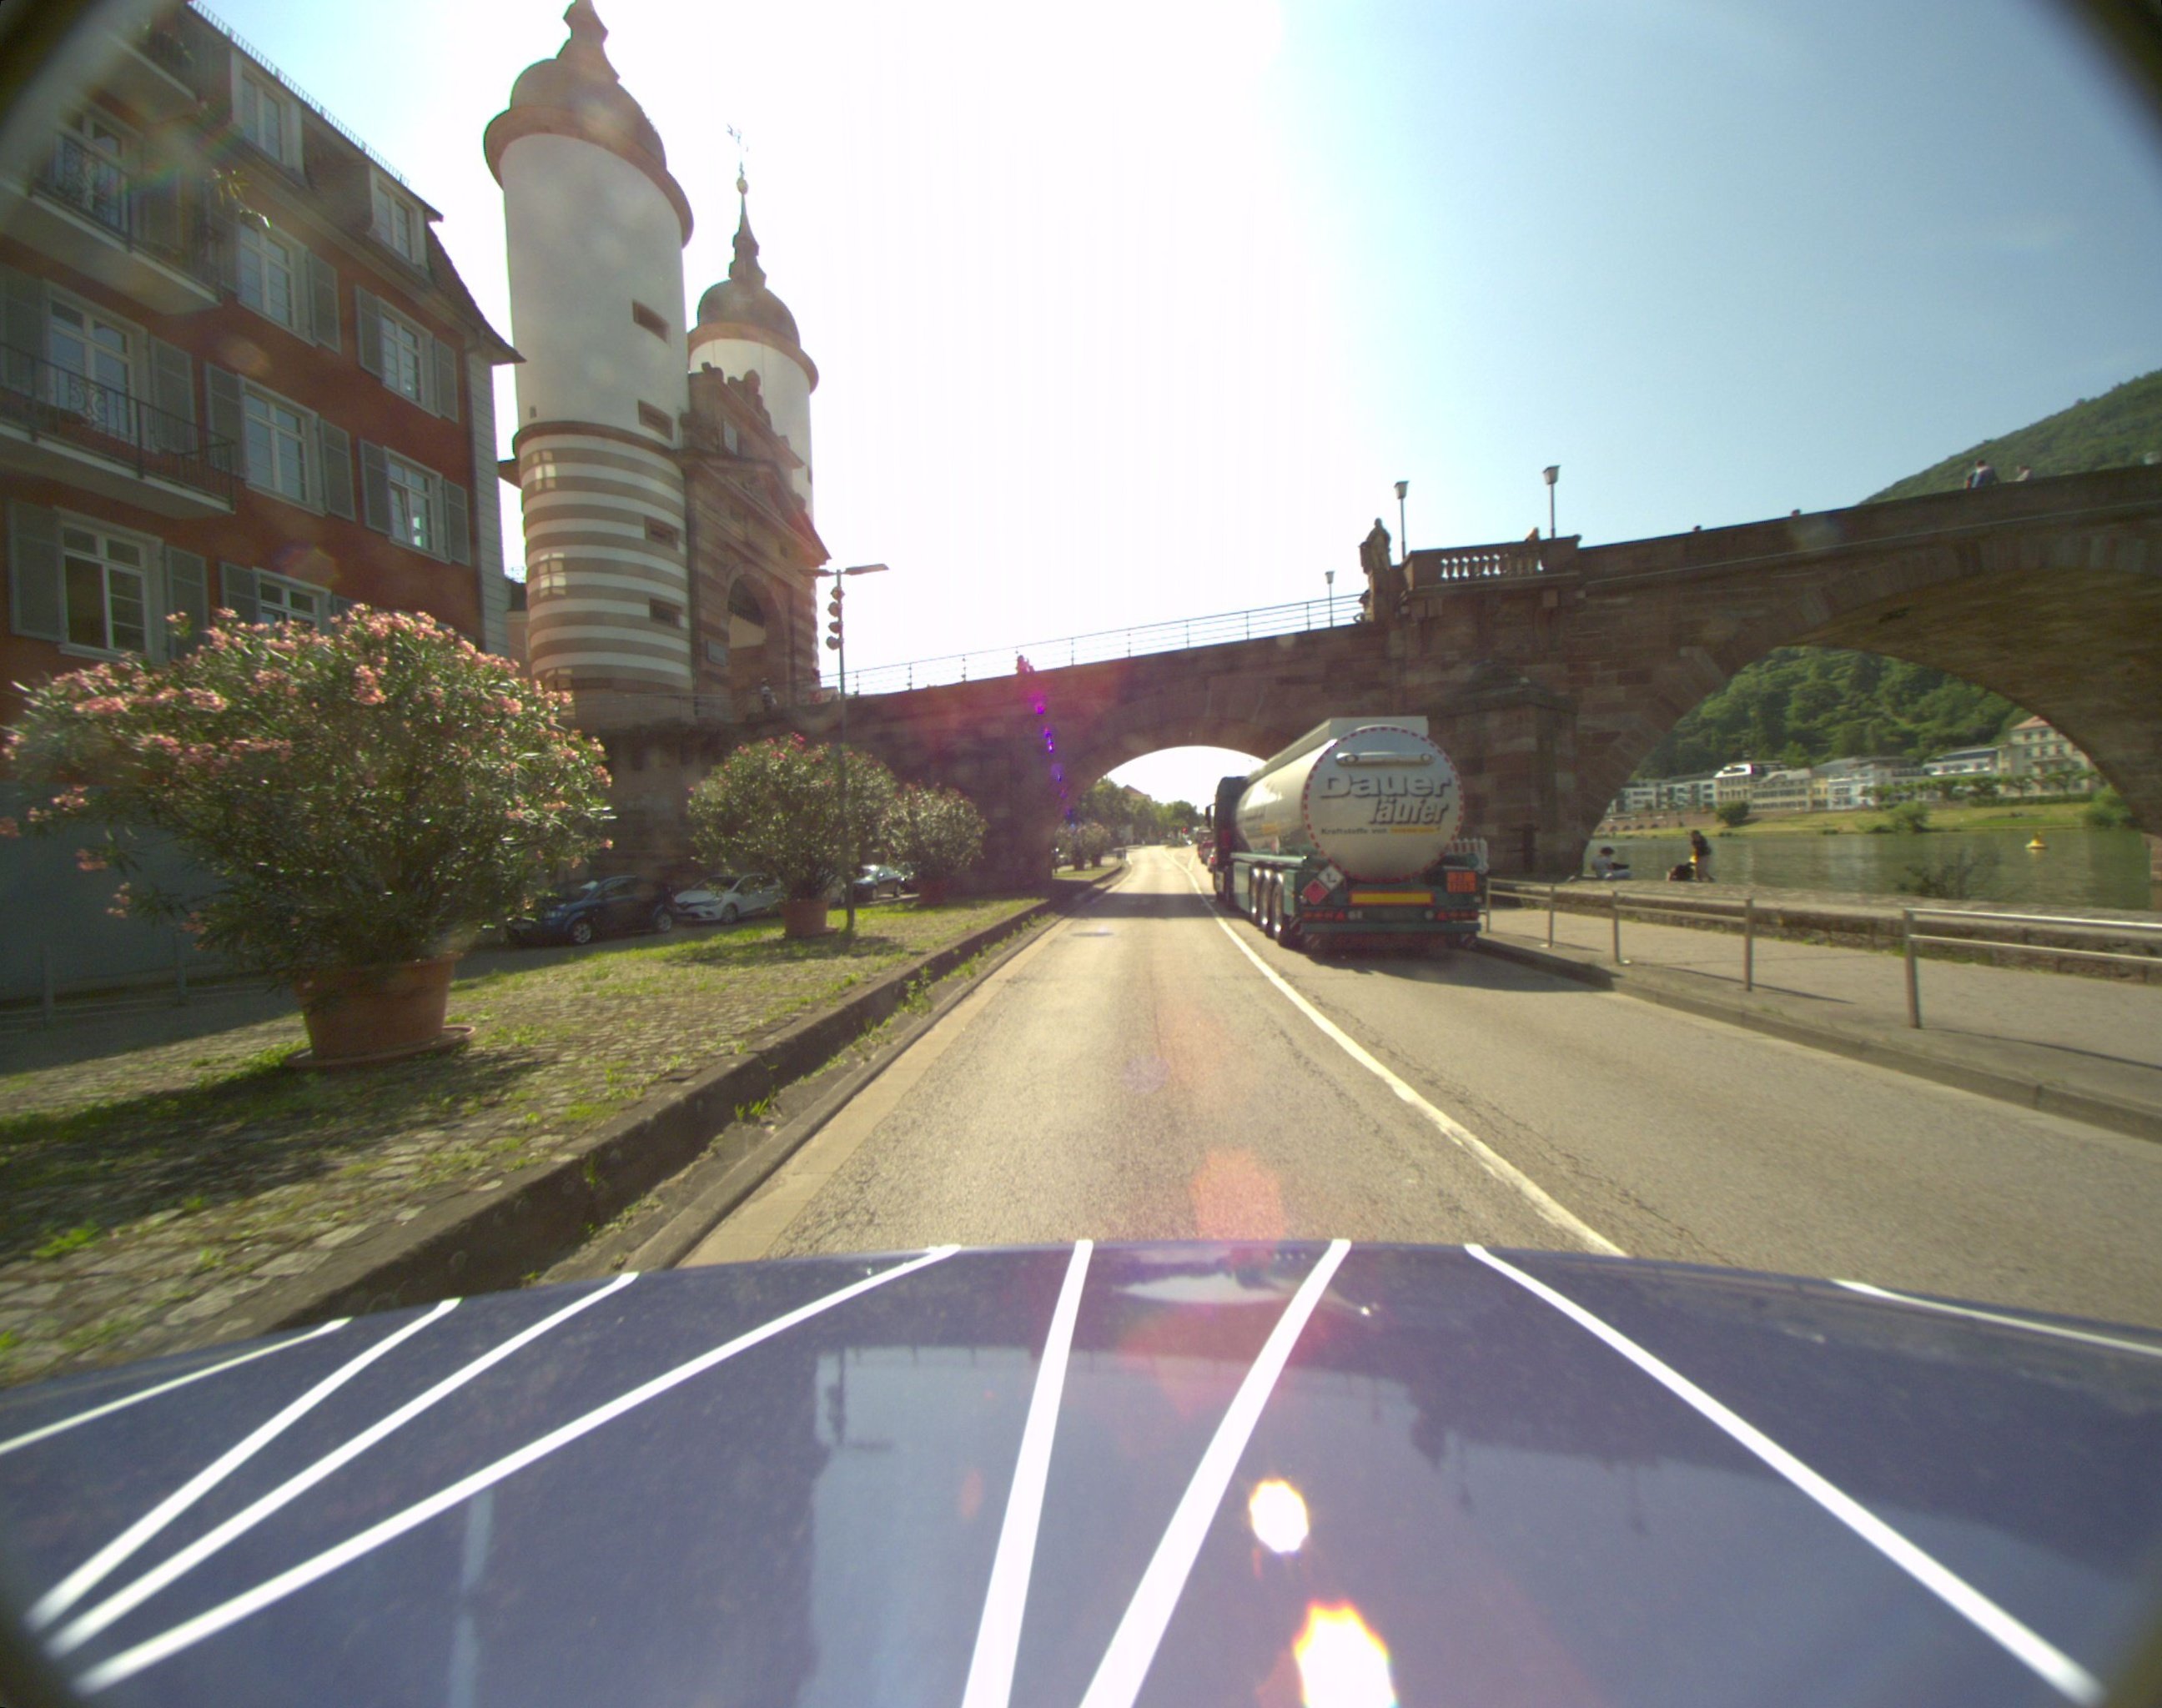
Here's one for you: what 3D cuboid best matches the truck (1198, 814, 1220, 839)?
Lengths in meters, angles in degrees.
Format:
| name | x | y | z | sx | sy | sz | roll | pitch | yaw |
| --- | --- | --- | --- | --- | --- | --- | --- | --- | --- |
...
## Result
| name | x | y | z | sx | sy | sz | roll | pitch | yaw |
| --- | --- | --- | --- | --- | --- | --- | --- | --- | --- |
| truck | 18.543 | -3.973 | 109.760 | 2.646 | 3.457 | 11.113 | -1 | 2 | 11 |

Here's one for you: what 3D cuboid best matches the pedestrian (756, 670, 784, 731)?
| name | x | y | z | sx | sy | sz | roll | pitch | yaw |
| --- | --- | --- | --- | --- | --- | --- | --- | --- | --- |
| pedestrian | -10.900 | -5.367 | 26.640 | 0.579 | 2.002 | 0.707 | -1 | 2 | 7 |

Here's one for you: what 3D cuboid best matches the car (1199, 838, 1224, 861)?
| name | x | y | z | sx | sy | sz | roll | pitch | yaw |
| --- | --- | --- | --- | --- | --- | --- | --- | --- | --- |
| car | 10.948 | -0.379 | 63.789 | 1.878 | 1.817 | 4.545 | 0 | 1 | 8 |

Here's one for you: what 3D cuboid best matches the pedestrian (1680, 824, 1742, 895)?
| name | x | y | z | sx | sy | sz | roll | pitch | yaw |
| --- | --- | --- | --- | --- | --- | --- | --- | --- | --- |
| pedestrian | 15.040 | 0.127 | 18.167 | 0.790 | 1.641 | 0.774 | -3 | 0 | 2 |

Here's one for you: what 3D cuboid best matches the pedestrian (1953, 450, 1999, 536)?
| name | x | y | z | sx | sy | sz | roll | pitch | yaw |
| --- | --- | --- | --- | --- | --- | --- | --- | --- | --- |
| pedestrian | 24.224 | -9.755 | 20.571 | 0.467 | 2.002 | 0.639 | -2 | 2 | 0 |

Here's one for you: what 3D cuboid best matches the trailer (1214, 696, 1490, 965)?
| name | x | y | z | sx | sy | sz | roll | pitch | yaw |
| --- | --- | --- | --- | --- | --- | --- | --- | --- | --- |
| trailer | 4.680 | -0.367 | 16.095 | 2.529 | 3.623 | 11.533 | -1 | 1 | 4 |

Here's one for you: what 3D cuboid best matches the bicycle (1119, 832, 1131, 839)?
| name | x | y | z | sx | sy | sz | roll | pitch | yaw |
| --- | --- | --- | --- | --- | --- | --- | --- | --- | --- |
| bicycle | 7.906 | -3.320 | 136.247 | 2.159 | 1.361 | 0.584 | 0 | 3 | 10 |

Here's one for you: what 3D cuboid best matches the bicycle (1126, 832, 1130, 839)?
| name | x | y | z | sx | sy | sz | roll | pitch | yaw |
| --- | --- | --- | --- | --- | --- | --- | --- | --- | --- |
| bicycle | 8.232 | -3.199 | 132.222 | 0.476 | 1.255 | 2.163 | 0 | 2 | 8 |

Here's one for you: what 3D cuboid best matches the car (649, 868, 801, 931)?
| name | x | y | z | sx | sy | sz | roll | pitch | yaw |
| --- | --- | --- | --- | --- | --- | --- | --- | --- | --- |
| car | -10.441 | 1.280 | 22.716 | 1.896 | 1.484 | 4.419 | -1 | 1 | 9 |

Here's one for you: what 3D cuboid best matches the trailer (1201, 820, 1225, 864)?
| name | x | y | z | sx | sy | sz | roll | pitch | yaw |
| --- | --- | --- | --- | --- | --- | --- | --- | --- | --- |
| trailer | 10.269 | -0.942 | 59.084 | 1.745 | 3.302 | 3.385 | 0 | 2 | 8 |

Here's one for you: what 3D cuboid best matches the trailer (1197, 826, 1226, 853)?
| name | x | y | z | sx | sy | sz | roll | pitch | yaw |
| --- | --- | --- | --- | --- | --- | --- | --- | --- | --- |
| trailer | 13.160 | -1.487 | 76.555 | 2.702 | 2.517 | 6.949 | 0 | 3 | 10 |

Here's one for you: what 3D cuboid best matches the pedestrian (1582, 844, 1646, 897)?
| name | x | y | z | sx | sy | sz | roll | pitch | yaw |
| --- | --- | --- | --- | --- | --- | --- | --- | --- | --- |
| pedestrian | 12.890 | 0.387 | 18.405 | 0.790 | 1.222 | 1.026 | -3 | 0 | 2 |

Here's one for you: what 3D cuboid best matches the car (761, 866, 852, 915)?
| name | x | y | z | sx | sy | sz | roll | pitch | yaw |
| --- | --- | --- | --- | --- | --- | --- | --- | --- | --- |
| car | -9.669 | 1.244 | 27.009 | 1.557 | 1.468 | 3.668 | -2 | 1 | 6 |

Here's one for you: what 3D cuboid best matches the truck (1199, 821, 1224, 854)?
| name | x | y | z | sx | sy | sz | roll | pitch | yaw |
| --- | --- | --- | --- | --- | --- | --- | --- | --- | --- |
| truck | 14.593 | -1.942 | 85.107 | 2.646 | 3.438 | 7.874 | 0 | 3 | 10 |

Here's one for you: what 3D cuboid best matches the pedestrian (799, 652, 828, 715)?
| name | x | y | z | sx | sy | sz | roll | pitch | yaw |
| --- | --- | --- | --- | --- | --- | --- | --- | --- | --- |
| pedestrian | -9.256 | -5.886 | 26.330 | 0.640 | 2.002 | 0.707 | -1 | 2 | 7 |

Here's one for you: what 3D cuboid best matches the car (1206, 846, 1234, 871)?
| name | x | y | z | sx | sy | sz | roll | pitch | yaw |
| --- | --- | --- | --- | --- | --- | --- | --- | --- | --- |
| car | 8.599 | 0.238 | 47.199 | 1.538 | 1.429 | 3.729 | 0 | 2 | 7 |

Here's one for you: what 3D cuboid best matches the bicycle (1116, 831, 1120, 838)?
| name | x | y | z | sx | sy | sz | roll | pitch | yaw |
| --- | --- | --- | --- | --- | --- | --- | --- | --- | --- |
| bicycle | 5.824 | -3.040 | 119.456 | 0.344 | 1.106 | 1.920 | -1 | 2 | 14 |

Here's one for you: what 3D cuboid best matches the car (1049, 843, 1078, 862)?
| name | x | y | z | sx | sy | sz | roll | pitch | yaw |
| --- | --- | --- | --- | --- | --- | --- | --- | --- | --- |
| car | -1.478 | -0.151 | 66.606 | 1.614 | 1.406 | 3.905 | -2 | 2 | 12 |

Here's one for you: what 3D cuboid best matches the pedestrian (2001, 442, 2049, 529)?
| name | x | y | z | sx | sy | sz | roll | pitch | yaw |
| --- | --- | --- | --- | --- | --- | --- | --- | --- | --- |
| pedestrian | 25.507 | -9.944 | 20.544 | 0.467 | 2.002 | 0.639 | -2 | 2 | 0 |

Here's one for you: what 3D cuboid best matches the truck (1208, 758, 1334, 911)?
| name | x | y | z | sx | sy | sz | roll | pitch | yaw |
| --- | --- | --- | --- | --- | --- | --- | --- | --- | --- |
| truck | 5.152 | -0.481 | 21.625 | 2.529 | 3.727 | 6.248 | 0 | 0 | 5 |

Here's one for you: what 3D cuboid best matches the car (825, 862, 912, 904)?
| name | x | y | z | sx | sy | sz | roll | pitch | yaw |
| --- | --- | --- | --- | --- | --- | --- | --- | --- | --- |
| car | -8.928 | 1.174 | 32.352 | 1.779 | 1.428 | 4.494 | -2 | 1 | 9 |

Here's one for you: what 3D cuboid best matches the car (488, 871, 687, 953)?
| name | x | y | z | sx | sy | sz | roll | pitch | yaw |
| --- | --- | --- | --- | --- | --- | --- | --- | --- | --- |
| car | -11.552 | 1.292 | 18.127 | 1.674 | 1.533 | 3.814 | -3 | 1 | 13 |
